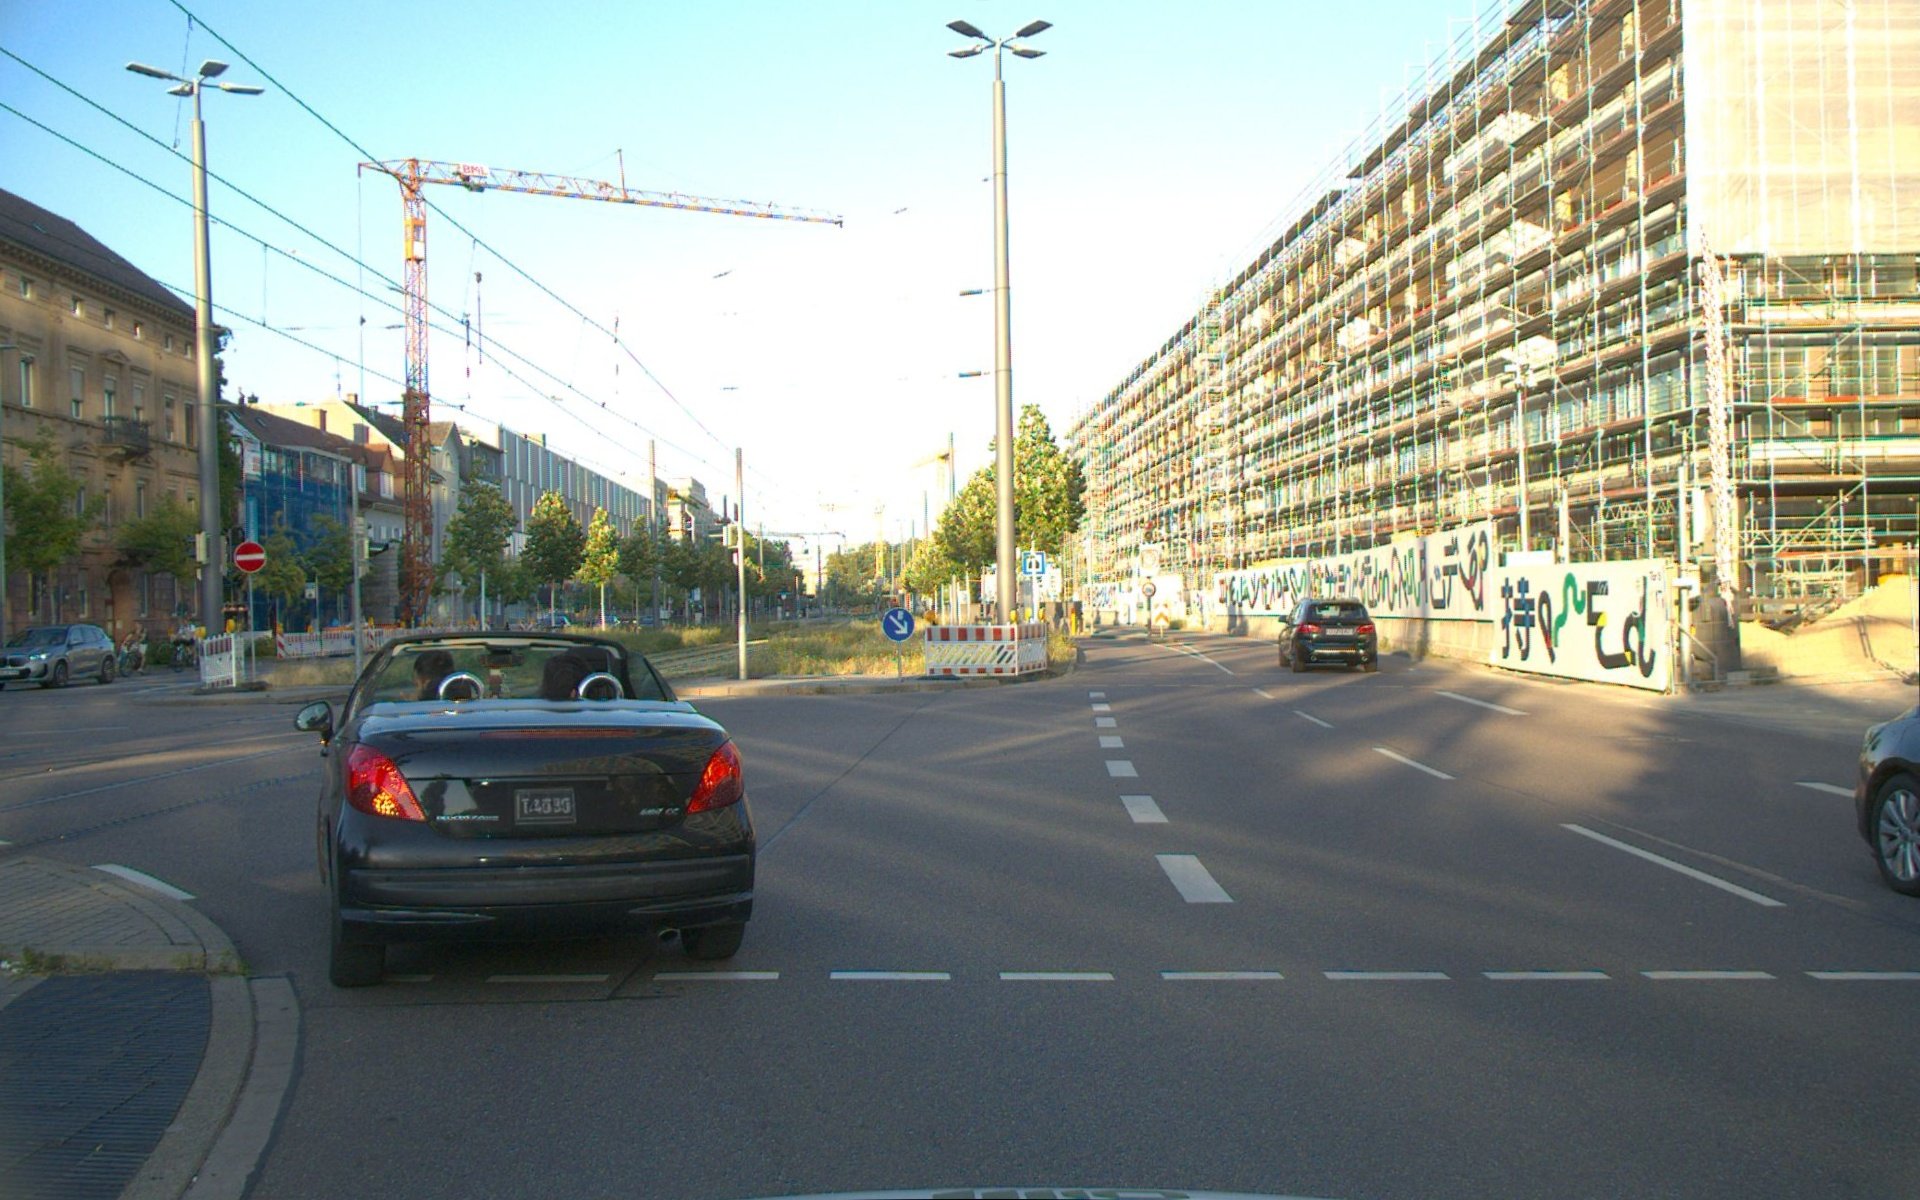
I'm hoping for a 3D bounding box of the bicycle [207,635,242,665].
[{"bbox_3d":[-25.551,1.717,57.473,0.578,0.992,1.555,1,0,-2],"label":"bicycle"}]

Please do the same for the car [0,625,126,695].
[{"bbox_3d":[-23.992,1.556,43.634,1.954,1.607,4.122,-3,0,-2],"label":"car"}]

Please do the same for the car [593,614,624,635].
[{"bbox_3d":[-26.846,1.864,126.331,1.624,1.456,3.893,1,0,-1],"label":"car"}]

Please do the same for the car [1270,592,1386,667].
[{"bbox_3d":[8.032,0.610,36.460,1.782,1.545,4.794,0,0,4],"label":"car"}]

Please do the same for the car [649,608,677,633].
[{"bbox_3d":[-25.054,1.711,139.665,1.624,1.998,4.265,1,0,-1],"label":"car"}]

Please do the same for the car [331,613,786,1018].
[{"bbox_3d":[-2.137,0.773,7.972,1.650,1.376,3.975,0,0,-21],"label":"car"}]

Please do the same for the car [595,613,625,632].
[{"bbox_3d":[-28.244,1.809,133.473,1.624,1.456,3.893,1,0,-1],"label":"car"}]

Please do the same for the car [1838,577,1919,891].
[{"bbox_3d":[5.869,0.700,7.205,1.785,1.626,4.367,0,0,0],"label":"car"}]

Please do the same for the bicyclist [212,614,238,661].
[{"bbox_3d":[-25.545,1.292,57.475,0.578,1.597,0.710,1,0,-2],"label":"bicyclist"}]

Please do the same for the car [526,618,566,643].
[{"bbox_3d":[-26.130,1.924,104.492,1.624,1.456,3.893,1,0,-1],"label":"car"}]

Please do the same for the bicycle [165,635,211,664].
[{"bbox_3d":[-26.593,1.697,57.016,0.756,0.961,1.640,1,0,2],"label":"bicycle"}]

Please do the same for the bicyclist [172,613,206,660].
[{"bbox_3d":[-26.585,1.254,57.024,0.756,1.598,0.793,1,0,2],"label":"bicyclist"}]

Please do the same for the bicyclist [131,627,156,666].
[{"bbox_3d":[-27.151,1.541,55.024,0.577,1.289,0.460,1,0,8],"label":"bicyclist"}]

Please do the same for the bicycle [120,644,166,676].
[{"bbox_3d":[-27.157,1.981,55.021,0.577,1.006,1.557,1,0,8],"label":"bicycle"}]
